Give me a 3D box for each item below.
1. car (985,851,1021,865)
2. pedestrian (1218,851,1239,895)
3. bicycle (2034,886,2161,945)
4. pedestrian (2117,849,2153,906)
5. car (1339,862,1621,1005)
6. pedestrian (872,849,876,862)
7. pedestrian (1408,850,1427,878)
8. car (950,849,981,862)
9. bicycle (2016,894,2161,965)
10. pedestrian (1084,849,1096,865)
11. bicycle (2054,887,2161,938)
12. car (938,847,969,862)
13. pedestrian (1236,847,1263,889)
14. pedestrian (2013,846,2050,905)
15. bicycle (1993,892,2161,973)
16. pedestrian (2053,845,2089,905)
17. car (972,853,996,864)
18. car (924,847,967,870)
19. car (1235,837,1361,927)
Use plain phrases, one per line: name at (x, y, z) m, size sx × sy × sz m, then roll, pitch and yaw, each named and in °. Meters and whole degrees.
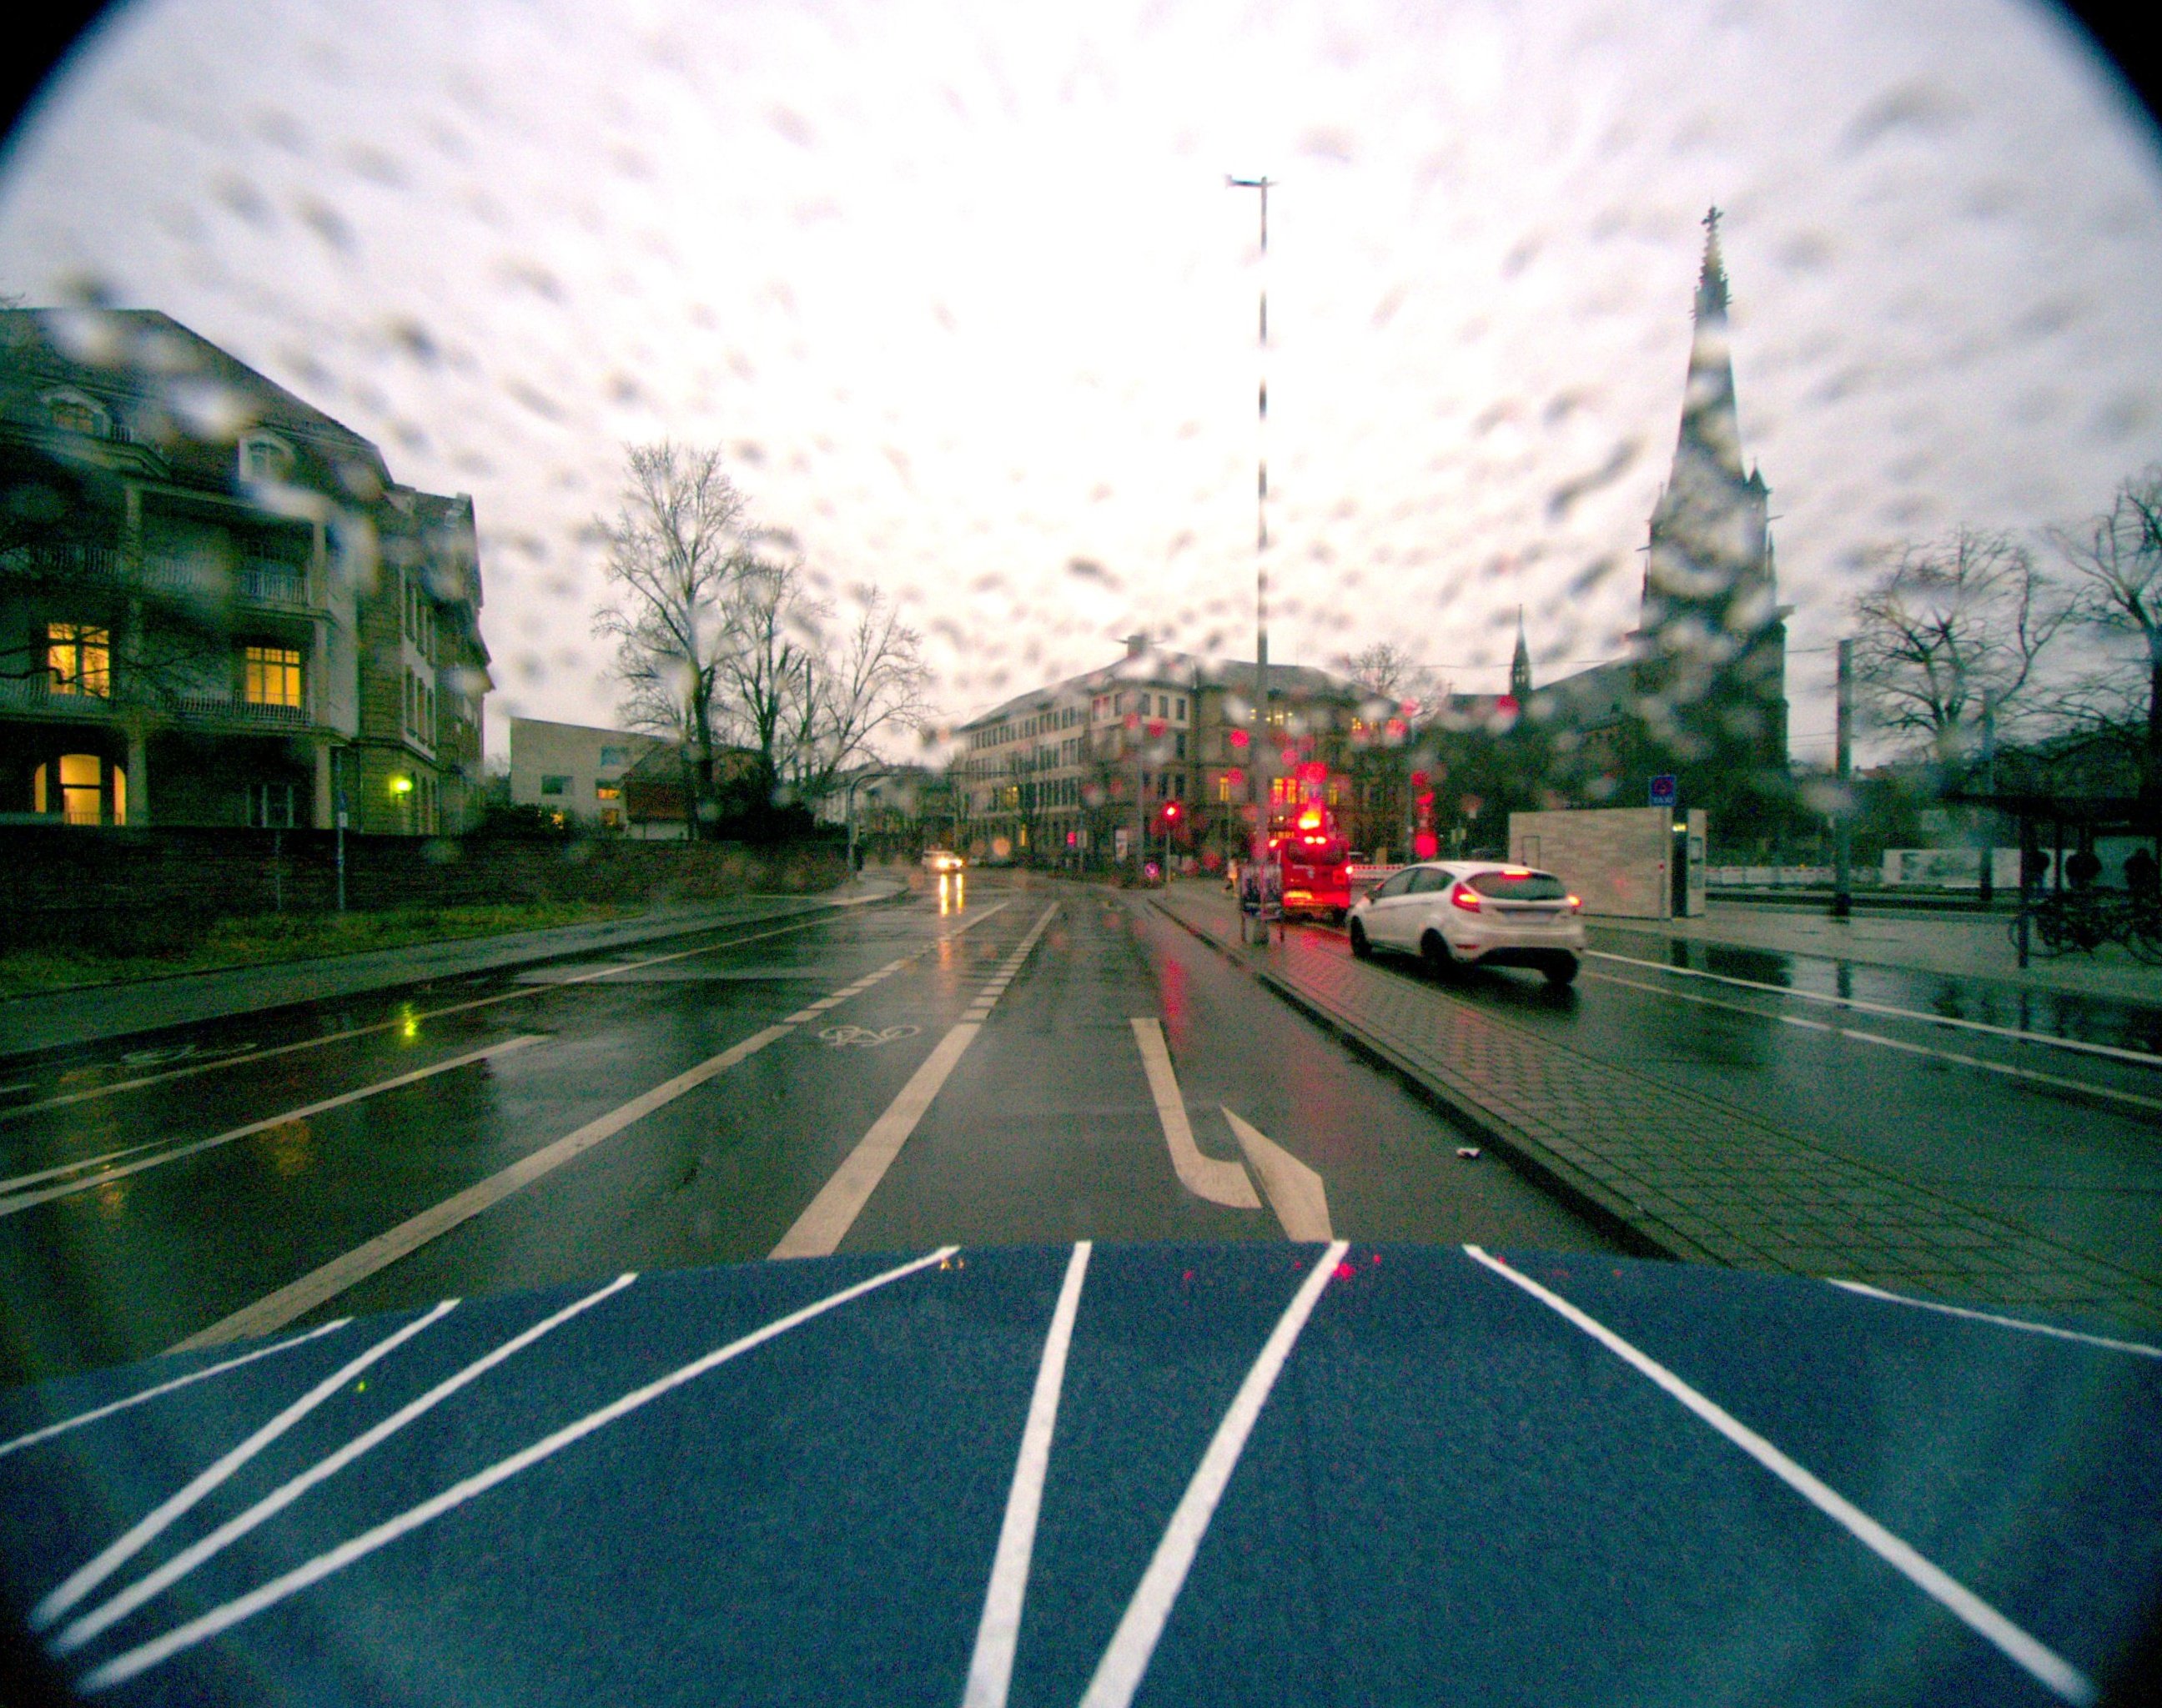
car at (-9.282, 0.474, 90.534) m, size 1.797 × 1.541 × 4.007 m, roll -1°, pitch 1°, yaw 45°
pedestrian at (5.965, 0.750, 30.628) m, size 0.797 × 1.713 × 0.675 m, roll 1°, pitch 1°, yaw 11°
bicycle at (19.688, 1.165, 14.425) m, size 0.475 × 0.980 × 1.921 m, roll -2°, pitch 2°, yaw -30°
pedestrian at (31.044, 0.687, 22.384) m, size 0.541 × 1.642 × 0.562 m, roll -3°, pitch 2°, yaw -41°
car at (5.057, 0.901, 10.278) m, size 1.744 × 1.440 × 3.713 m, roll 2°, pitch 1°, yaw -1°
pedestrian at (-32.849, 0.276, 120.586) m, size 0.548 × 2.002 × 0.473 m, roll 0°, pitch 1°, yaw -35°
pedestrian at (22.058, 0.652, 49.810) m, size 0.675 × 1.806 × 0.895 m, roll 0°, pitch 1°, yaw -38°
car at (-15.094, 0.193, 99.404) m, size 1.797 × 1.541 × 4.007 m, roll -2°, pitch 1°, yaw 28°
bicycle at (16.613, 1.210, 12.214) m, size 0.475 × 0.980 × 1.921 m, roll -2°, pitch 2°, yaw -30°
pedestrian at (0.986, 0.280, 81.382) m, size 0.829 × 1.714 × 0.926 m, roll 0°, pitch 0°, yaw -37°
bicycle at (20.844, 1.157, 15.015) m, size 0.475 × 0.905 × 1.921 m, roll -2°, pitch 2°, yaw -30°
car at (-16.998, 0.069, 101.470) m, size 2.043 × 1.889 × 4.007 m, roll -2°, pitch 1°, yaw 28°
pedestrian at (7.730, 0.643, 34.837) m, size 1.000 × 1.890 × 0.673 m, roll 0°, pitch 1°, yaw -14°
pedestrian at (29.585, 0.658, 23.655) m, size 0.828 × 1.785 × 0.668 m, roll -3°, pitch 2°, yaw -42°
bicycle at (15.495, 1.176, 11.609) m, size 0.475 × 1.064 × 1.921 m, roll -2°, pitch 2°, yaw -30°
pedestrian at (30.232, 0.638, 23.213) m, size 0.673 × 1.785 × 0.626 m, roll -3°, pitch 2°, yaw -41°
car at (-12.137, 0.568, 95.306) m, size 1.706 × 1.298 × 3.647 m, roll -2°, pitch 1°, yaw 16°
car at (-12.542, 0.434, 70.107) m, size 2.003 × 2.002 × 4.878 m, roll -3°, pitch 1°, yaw -34°
car at (5.492, 0.654, 19.916) m, size 1.929 × 2.058 × 4.643 m, roll 1°, pitch 0°, yaw 0°
